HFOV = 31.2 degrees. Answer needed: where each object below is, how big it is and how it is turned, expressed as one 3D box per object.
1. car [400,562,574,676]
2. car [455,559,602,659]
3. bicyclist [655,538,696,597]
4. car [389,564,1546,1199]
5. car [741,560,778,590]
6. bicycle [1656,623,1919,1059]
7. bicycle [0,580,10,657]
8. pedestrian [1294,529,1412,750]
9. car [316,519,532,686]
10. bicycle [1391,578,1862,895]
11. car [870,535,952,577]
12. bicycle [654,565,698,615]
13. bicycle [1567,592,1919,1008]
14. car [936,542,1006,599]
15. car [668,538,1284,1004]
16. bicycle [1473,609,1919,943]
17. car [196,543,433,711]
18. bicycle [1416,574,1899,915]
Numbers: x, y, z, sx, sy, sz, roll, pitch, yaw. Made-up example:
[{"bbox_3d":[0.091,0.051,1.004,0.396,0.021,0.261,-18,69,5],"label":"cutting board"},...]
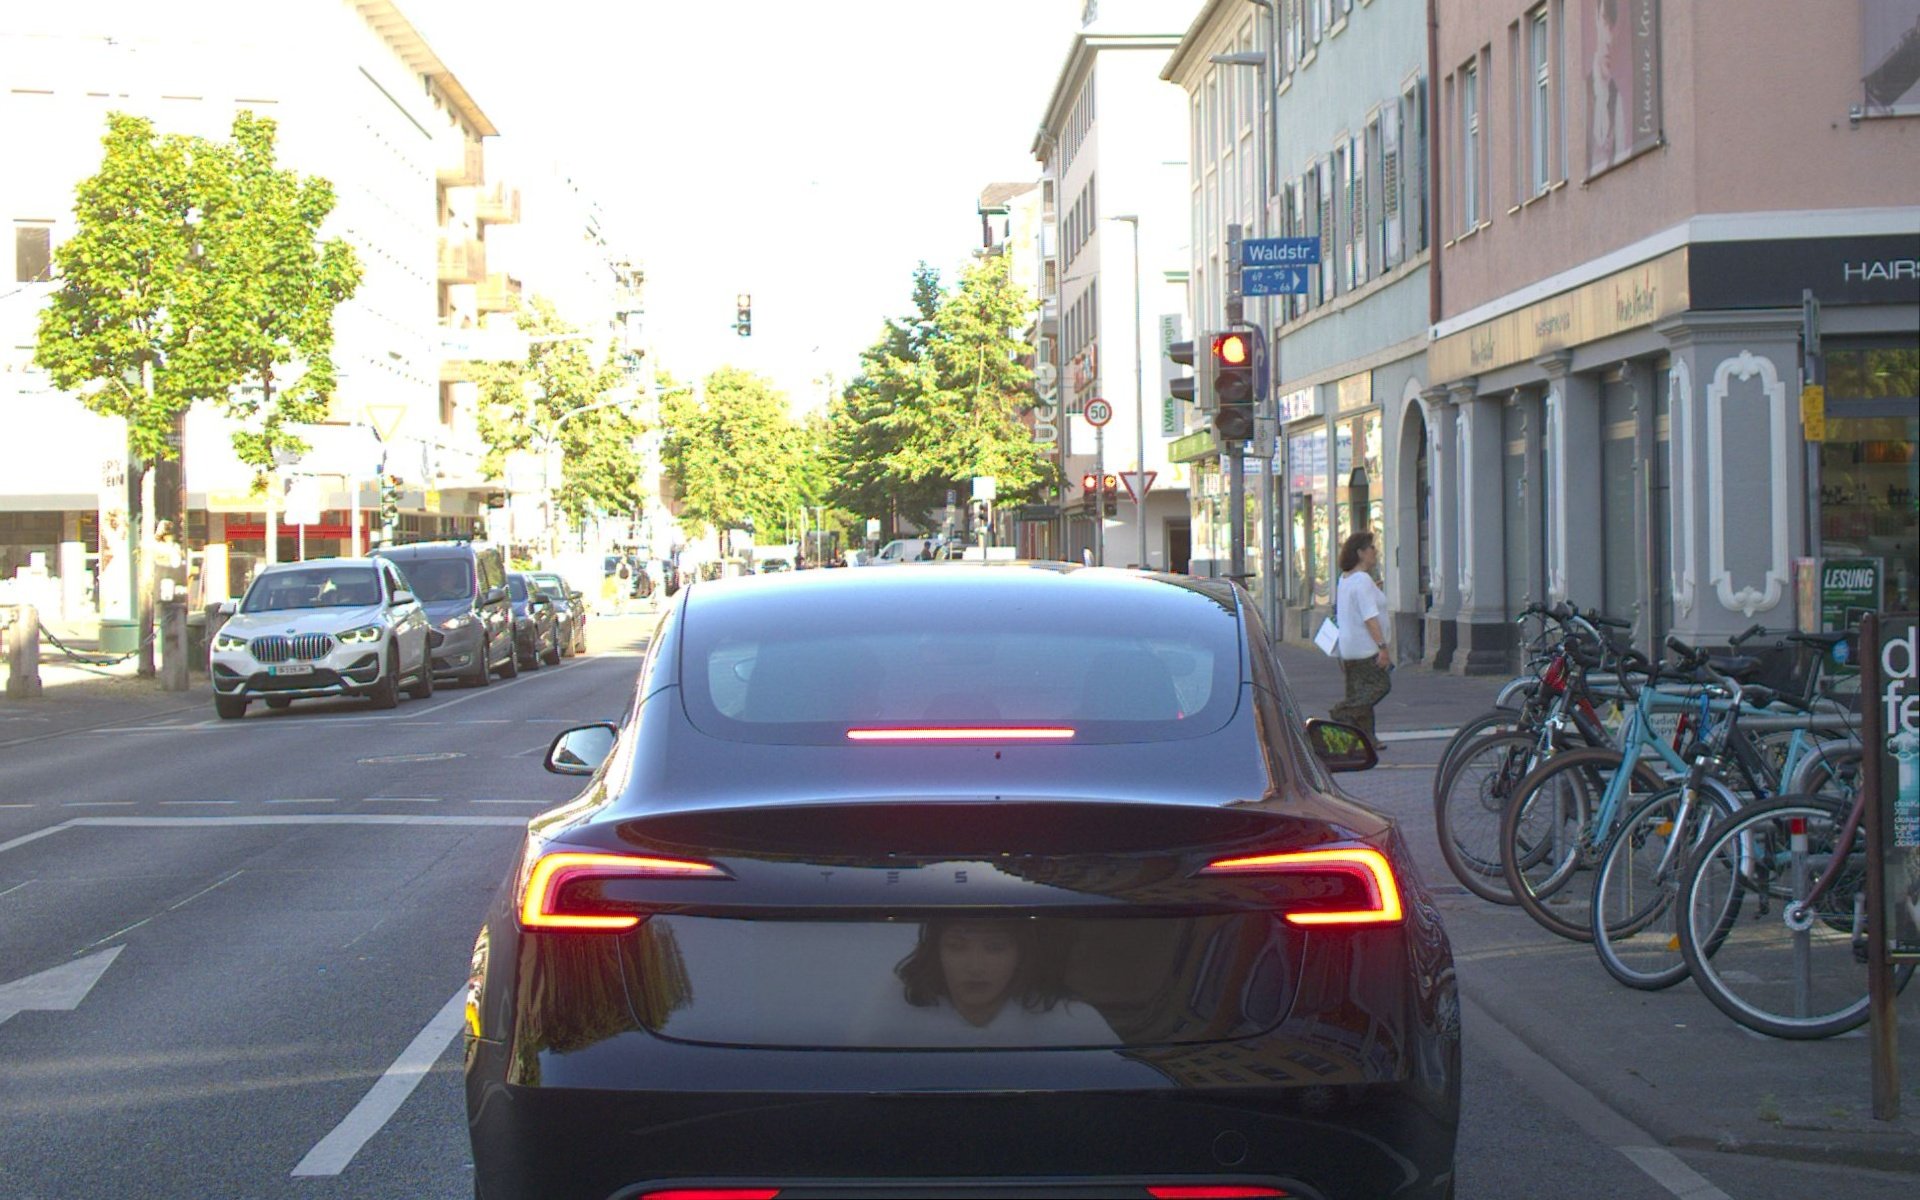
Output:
[{"bbox_3d":[-6.741,0.237,49.440,1.993,1.405,4.675,-4,1,-3],"label":"car"},{"bbox_3d":[-7.106,0.119,57.031,1.993,1.431,4.675,-4,1,-3],"label":"car"},{"bbox_3d":[-7.904,-0.914,95.621,1.126,1.623,0.965,0,1,-3],"label":"bicyclist"},{"bbox_3d":[-0.008,0.654,7.508,1.848,1.450,4.000,0,1,-1],"label":"car"},{"bbox_3d":[-10.928,-1.375,187.082,1.993,1.631,4.001,0,1,-3],"label":"car"},{"bbox_3d":[3.035,0.669,9.994,1.886,1.189,0.691,-2,1,5],"label":"bicycle"},{"bbox_3d":[-15.707,0.278,52.239,2.323,1.152,0.843,0,1,-5],"label":"bicycle"},{"bbox_3d":[2.775,0.271,24.353,0.747,1.547,0.699,0,1,-1],"label":"pedestrian"},{"bbox_3d":[-6.569,-0.016,42.611,1.834,1.838,4.674,-4,1,0],"label":"car"},{"bbox_3d":[2.812,0.568,14.686,1.862,1.253,0.832,-2,1,5],"label":"bicycle"},{"bbox_3d":[-2.408,-2.154,167.561,3.986,2.007,2.000,0,1,-2],"label":"car"},{"bbox_3d":[-7.886,-0.299,95.538,1.111,1.340,4.001,0,1,-3],"label":"bicycle"},{"bbox_3d":[2.889,0.619,11.126,1.722,1.263,0.790,-2,1,5],"label":"bicycle"},{"bbox_3d":[0.304,-0.869,100.730,1.993,1.623,4.000,0,1,0],"label":"car"},{"bbox_3d":[-0.016,0.518,13.216,1.993,1.507,4.176,0,1,-2],"label":"car"},{"bbox_3d":[2.809,0.622,12.477,1.798,1.120,0.781,-2,1,5],"label":"bicycle"},{"bbox_3d":[-6.743,0.230,36.339,1.807,1.550,4.310,-4,1,-3],"label":"car"},{"bbox_3d":[2.742,0.557,13.655,1.746,1.262,0.781,-2,1,3],"label":"bicycle"}]
